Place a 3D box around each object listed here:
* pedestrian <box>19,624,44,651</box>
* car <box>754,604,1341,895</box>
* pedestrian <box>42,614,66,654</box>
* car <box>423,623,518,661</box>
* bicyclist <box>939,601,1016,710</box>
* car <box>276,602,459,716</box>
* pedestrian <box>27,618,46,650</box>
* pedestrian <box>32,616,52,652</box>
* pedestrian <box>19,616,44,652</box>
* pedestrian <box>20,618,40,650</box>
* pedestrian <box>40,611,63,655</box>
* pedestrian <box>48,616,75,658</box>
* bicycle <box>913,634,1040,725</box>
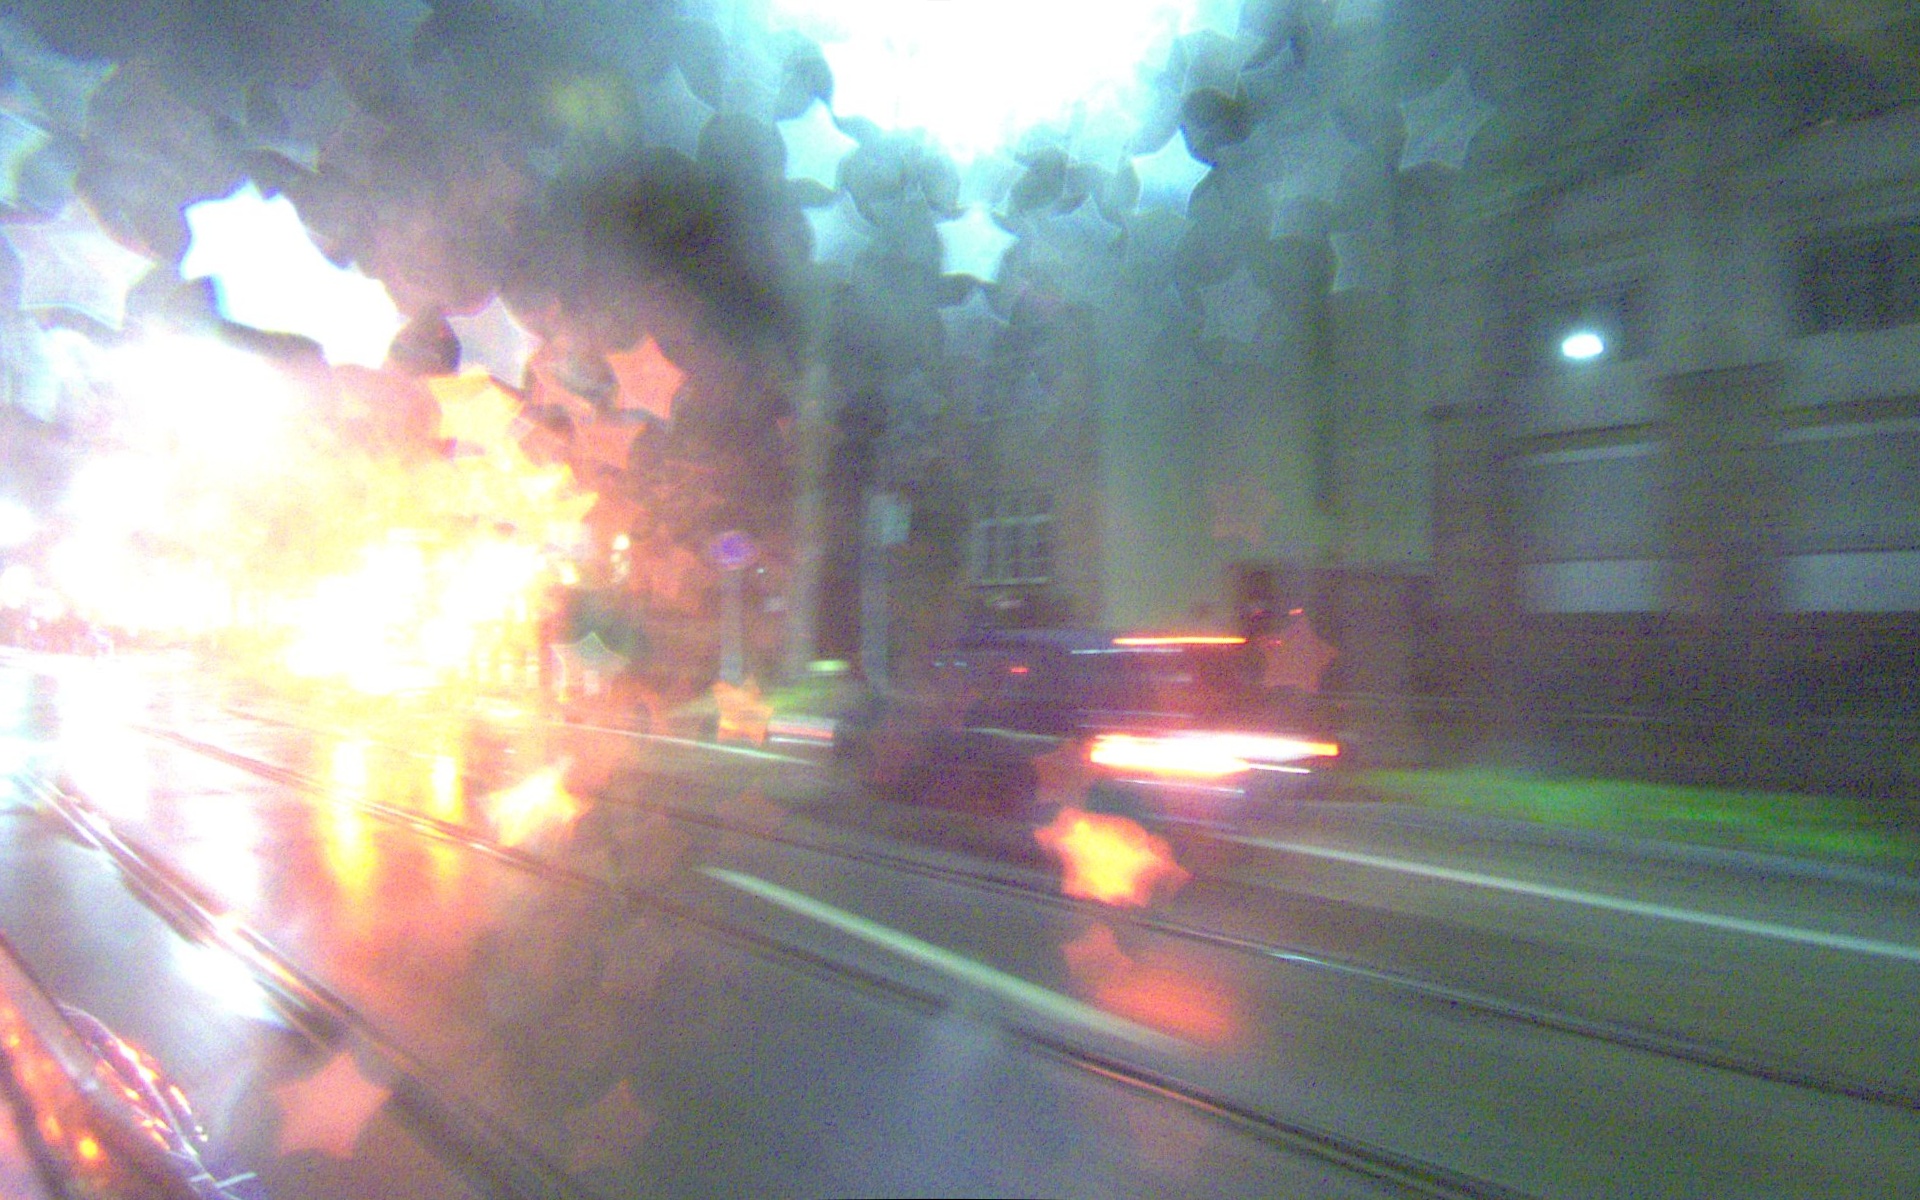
[{"bbox_3d":[-44.812,1.817,48.837,0.615,1.263,0.585,-2,2,-1],"label":"pedestrian"},{"bbox_3d":[0.404,0.810,7.172,3.903,1.475,1.772,-2,-1,45],"label":"car"},{"bbox_3d":[-41.262,1.539,46.075,0.671,1.787,0.707,0,2,44],"label":"pedestrian"},{"bbox_3d":[-21.520,1.816,44.611,1.907,1.527,3.581,0,0,15],"label":"car"},{"bbox_3d":[0.246,0.774,14.546,0.868,1.476,0.647,0,2,45],"label":"bicyclist"},{"bbox_3d":[-11.190,1.011,18.975,1.873,1.883,4.538,2,-2,-45],"label":"car"},{"bbox_3d":[-45.438,1.675,49.789,0.583,1.539,0.476,-1,2,24],"label":"pedestrian"},{"bbox_3d":[-43.682,1.617,48.145,0.525,1.641,0.400,-2,2,-1],"label":"pedestrian"},{"bbox_3d":[-44.281,1.604,48.264,0.552,1.664,0.585,-2,2,-1],"label":"pedestrian"},{"bbox_3d":[-45.973,1.667,50.016,0.571,1.559,0.508,-1,2,24],"label":"pedestrian"},{"bbox_3d":[-42.445,1.511,47.294,0.858,2.001,0.602,0,2,39],"label":"pedestrian"},{"bbox_3d":[-39.672,1.636,44.675,0.715,1.787,0.664,-1,2,32],"label":"pedestrian"},{"bbox_3d":[0.212,1.108,14.596,1.899,1.150,0.647,0,2,45],"label":"bicycle"}]
